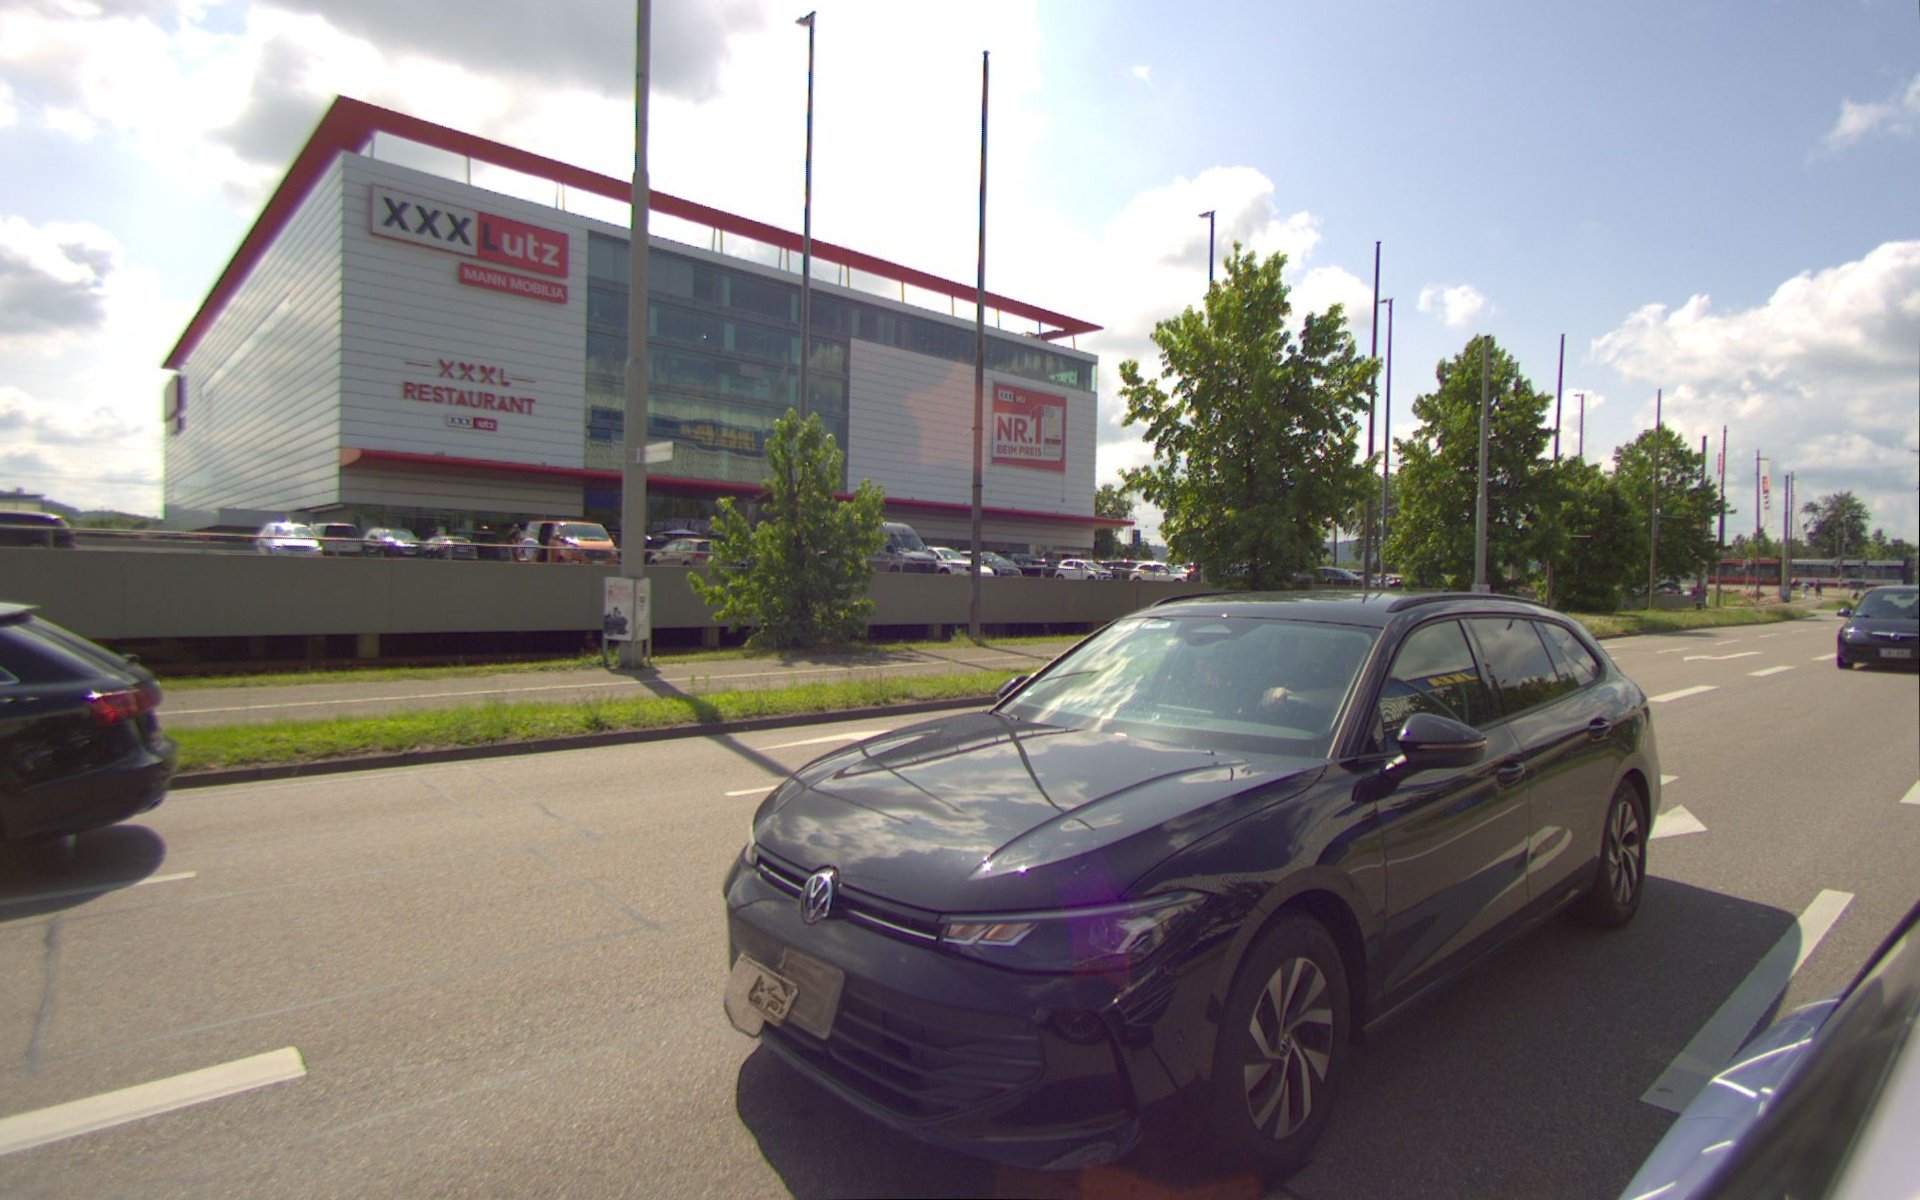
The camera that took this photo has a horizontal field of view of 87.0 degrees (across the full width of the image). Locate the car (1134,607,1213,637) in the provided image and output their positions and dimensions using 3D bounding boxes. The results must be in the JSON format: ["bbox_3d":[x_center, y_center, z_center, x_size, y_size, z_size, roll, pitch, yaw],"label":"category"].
[{"bbox_3d":[12.880,1.294,61.204,1.922,1.625,4.414,-1,1,-43],"label":"car"}]

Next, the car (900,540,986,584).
[{"bbox_3d":[-0.793,-1.655,44.840,1.719,1.816,3.995,-1,1,-40],"label":"car"}]

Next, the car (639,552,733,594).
[{"bbox_3d":[-11.179,-1.081,41.103,1.921,1.625,4.415,-1,1,-41],"label":"car"}]

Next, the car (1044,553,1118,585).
[{"bbox_3d":[7.187,-1.809,60.341,1.534,1.786,4.412,-2,1,-44],"label":"car"}]

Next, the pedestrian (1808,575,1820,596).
[{"bbox_3d":[73.799,-1.247,87.463,0.697,1.836,0.540,-1,1,27],"label":"pedestrian"}]

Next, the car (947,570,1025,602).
[{"bbox_3d":[1.306,-0.737,53.036,1.917,1.625,4.425,-1,1,-33],"label":"car"}]

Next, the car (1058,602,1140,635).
[{"bbox_3d":[7.663,1.004,56.051,1.919,1.625,4.420,-1,1,-38],"label":"car"}]

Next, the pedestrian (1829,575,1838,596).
[{"bbox_3d":[74.750,-1.245,86.622,0.523,1.836,0.669,-1,1,33],"label":"pedestrian"}]

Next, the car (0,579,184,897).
[{"bbox_3d":[-6.315,0.661,4.401,4.596,1.496,1.777,-1,1,-40],"label":"car"}]

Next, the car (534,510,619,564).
[{"bbox_3d":[-14.220,-2.271,37.363,1.881,1.772,4.187,-1,1,-36],"label":"car"}]

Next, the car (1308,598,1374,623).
[{"bbox_3d":[28.471,0.775,75.713,1.534,1.786,4.412,-2,1,-44],"label":"car"}]

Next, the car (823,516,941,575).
[{"bbox_3d":[-3.422,-2.255,43.202,1.721,2.312,5.784,-1,1,-44],"label":"car"}]

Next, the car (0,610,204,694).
[{"bbox_3d":[-21.295,1.205,24.728,4.293,1.772,1.995,-1,1,-45],"label":"car"}]

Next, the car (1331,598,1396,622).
[{"bbox_3d":[31.222,0.722,78.404,1.534,1.786,4.412,-2,1,-44],"label":"car"}]

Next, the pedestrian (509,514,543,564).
[{"bbox_3d":[-15.833,-2.227,36.946,1.014,1.764,0.698,0,1,36],"label":"pedestrian"}]

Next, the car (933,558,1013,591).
[{"bbox_3d":[0.608,-1.276,51.308,1.917,1.625,4.425,-1,1,-33],"label":"car"}]

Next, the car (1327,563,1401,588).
[{"bbox_3d":[28.047,-1.690,70.389,1.921,1.625,4.415,-1,1,-41],"label":"car"}]

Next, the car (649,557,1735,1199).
[{"bbox_3d":[1.516,0.620,4.226,5.114,1.496,1.811,-1,1,-42],"label":"car"}]

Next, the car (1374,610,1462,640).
[{"bbox_3d":[27.494,1.467,60.870,1.921,1.625,4.415,-1,1,-41],"label":"car"}]

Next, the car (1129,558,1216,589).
[{"bbox_3d":[11.608,-1.414,55.431,1.921,1.625,4.415,-1,1,-41],"label":"car"}]

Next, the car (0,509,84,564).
[{"bbox_3d":[-30.006,-1.957,31.225,1.948,1.625,4.355,1,1,43],"label":"car"}]

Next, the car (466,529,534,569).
[{"bbox_3d":[-22.450,-2.457,49.332,1.884,1.772,3.993,-2,1,-42],"label":"car"}]

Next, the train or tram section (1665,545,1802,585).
[{"bbox_3d":[95.362,-4.197,125.089,3.670,4.617,13.077,-1,1,-43],"label":"train or tram section"}]

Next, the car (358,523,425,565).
[{"bbox_3d":[-26.432,-2.570,47.002,1.884,1.772,3.993,-2,1,-42],"label":"car"}]

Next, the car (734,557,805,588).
[{"bbox_3d":[-10.403,-1.465,55.027,1.920,1.625,4.418,-1,1,-40],"label":"car"}]

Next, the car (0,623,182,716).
[{"bbox_3d":[-19.693,1.477,22.233,3.935,1.772,1.995,-1,1,-45],"label":"car"}]

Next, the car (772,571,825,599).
[{"bbox_3d":[-9.984,-0.951,62.329,1.915,1.625,4.430,-1,1,-27],"label":"car"}]

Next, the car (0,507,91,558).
[{"bbox_3d":[-36.092,-2.567,38.565,1.948,1.807,4.355,1,1,43],"label":"car"}]

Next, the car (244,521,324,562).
[{"bbox_3d":[-26.978,-2.284,40.335,1.923,1.489,4.412,-1,1,-44],"label":"car"}]

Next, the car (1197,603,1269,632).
[{"bbox_3d":[17.851,1.123,66.363,1.534,1.786,4.412,-2,1,-44],"label":"car"}]

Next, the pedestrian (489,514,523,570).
[{"bbox_3d":[-16.808,-2.126,37.454,0.895,2.039,0.706,-1,0,4],"label":"pedestrian"}]

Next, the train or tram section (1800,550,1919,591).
[{"bbox_3d":[104.404,-3.420,115.154,3.670,4.424,13.082,-1,3,-43],"label":"train or tram section"}]

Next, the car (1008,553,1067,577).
[{"bbox_3d":[5.343,-2.416,70.236,1.916,1.625,4.428,-1,1,-30],"label":"car"}]

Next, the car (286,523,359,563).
[{"bbox_3d":[-28.622,-2.523,45.382,1.923,1.625,4.412,-1,1,-44],"label":"car"}]

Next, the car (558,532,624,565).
[{"bbox_3d":[-19.541,-2.668,53.460,1.920,1.625,4.418,-1,1,-40],"label":"car"}]

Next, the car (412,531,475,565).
[{"bbox_3d":[-24.987,-2.478,48.902,1.534,1.489,4.412,-1,1,-44],"label":"car"}]

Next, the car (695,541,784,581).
[{"bbox_3d":[-9.459,-1.621,43.198,1.920,1.625,4.418,-1,1,-40],"label":"car"}]

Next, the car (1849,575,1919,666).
[{"bbox_3d":[17.790,0.340,18.668,4.196,1.549,1.605,0,1,-42],"label":"car"}]
